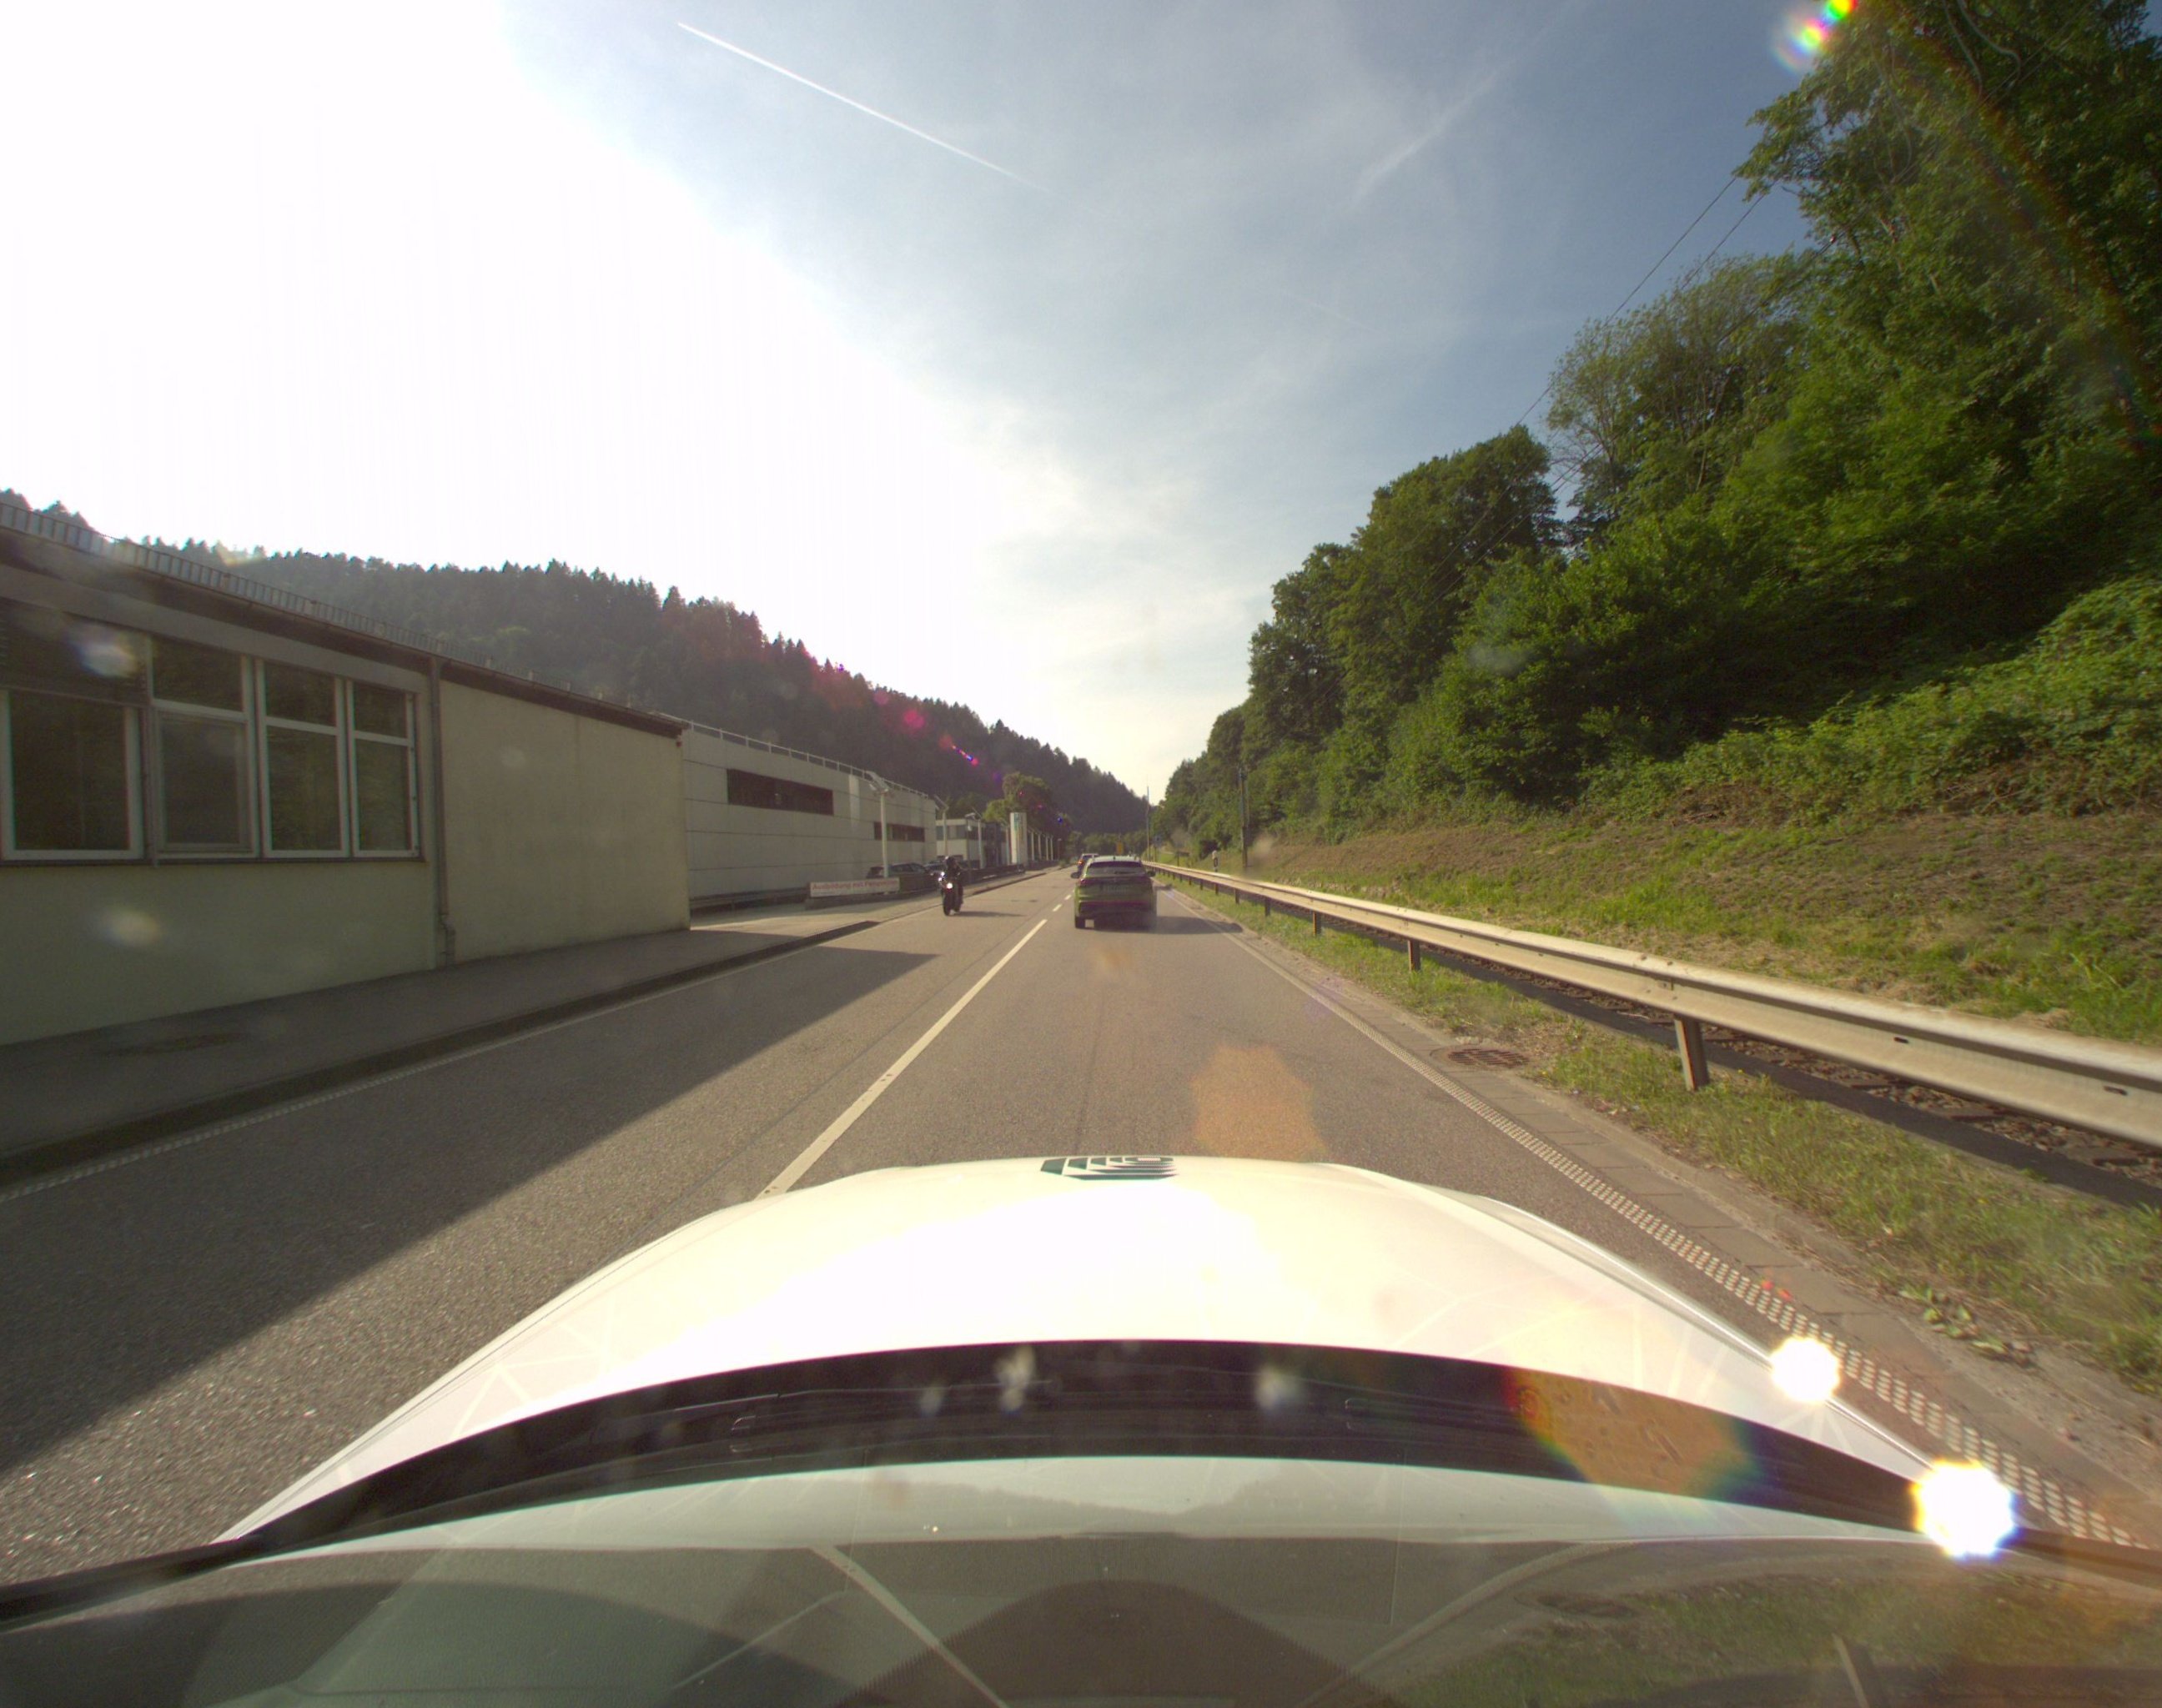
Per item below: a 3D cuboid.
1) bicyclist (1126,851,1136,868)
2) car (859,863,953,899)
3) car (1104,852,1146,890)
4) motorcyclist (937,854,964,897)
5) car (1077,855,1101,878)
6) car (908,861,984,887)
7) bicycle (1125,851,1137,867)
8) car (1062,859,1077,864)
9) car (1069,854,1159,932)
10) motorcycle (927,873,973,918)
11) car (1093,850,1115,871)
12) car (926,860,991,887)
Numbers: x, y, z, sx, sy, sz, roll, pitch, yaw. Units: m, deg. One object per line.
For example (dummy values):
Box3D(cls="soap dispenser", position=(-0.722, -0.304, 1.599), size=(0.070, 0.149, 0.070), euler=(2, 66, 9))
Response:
Box3D(cls="bicyclist", position=(4.224, 0.453, 68.640), size=(0.779, 1.412, 0.675), euler=(-2, 0, 0))
Box3D(cls="car", position=(-8.599, 1.307, 40.274), size=(1.865, 1.591, 4.201), euler=(-2, 0, 43))
Box3D(cls="car", position=(1.926, 0.733, 36.633), size=(1.733, 1.602, 4.001), euler=(-1, 0, 1))
Box3D(cls="motorcyclist", position=(-3.550, 0.576, 22.208), size=(0.583, 1.124, 0.637), euler=(-2, 0, 1))
Box3D(cls="car", position=(0.635, 0.896, 60.997), size=(1.733, 1.602, 4.001), euler=(-1, 0, 1))
Box3D(cls="car", position=(-8.498, 1.249, 51.609), size=(1.865, 1.495, 4.516), euler=(-2, 0, 43))
Box3D(cls="bicycle", position=(4.217, 0.420, 68.580), size=(0.809, 1.250, 2.122), euler=(-2, 0, 0))
Box3D(cls="car", position=(-3.352, 2.116, 238.132), size=(4.242, 1.433, 1.558), euler=(-2, 0, 2))
Box3D(cls="car", position=(0.689, 0.773, 18.151), size=(1.733, 1.508, 4.001), euler=(-2, 0, 1))
Box3D(cls="motorcycle", position=(-3.520, 1.087, 22.142), size=(0.738, 1.068, 2.493), euler=(-2, 0, 2))
Box3D(cls="car", position=(2.306, 0.629, 80.878), size=(1.986, 2.013, 4.002), euler=(-2, 0, 2))
Box3D(cls="car", position=(-8.333, 1.310, 55.630), size=(1.759, 1.708, 4.135), euler=(-2, 0, 43))
